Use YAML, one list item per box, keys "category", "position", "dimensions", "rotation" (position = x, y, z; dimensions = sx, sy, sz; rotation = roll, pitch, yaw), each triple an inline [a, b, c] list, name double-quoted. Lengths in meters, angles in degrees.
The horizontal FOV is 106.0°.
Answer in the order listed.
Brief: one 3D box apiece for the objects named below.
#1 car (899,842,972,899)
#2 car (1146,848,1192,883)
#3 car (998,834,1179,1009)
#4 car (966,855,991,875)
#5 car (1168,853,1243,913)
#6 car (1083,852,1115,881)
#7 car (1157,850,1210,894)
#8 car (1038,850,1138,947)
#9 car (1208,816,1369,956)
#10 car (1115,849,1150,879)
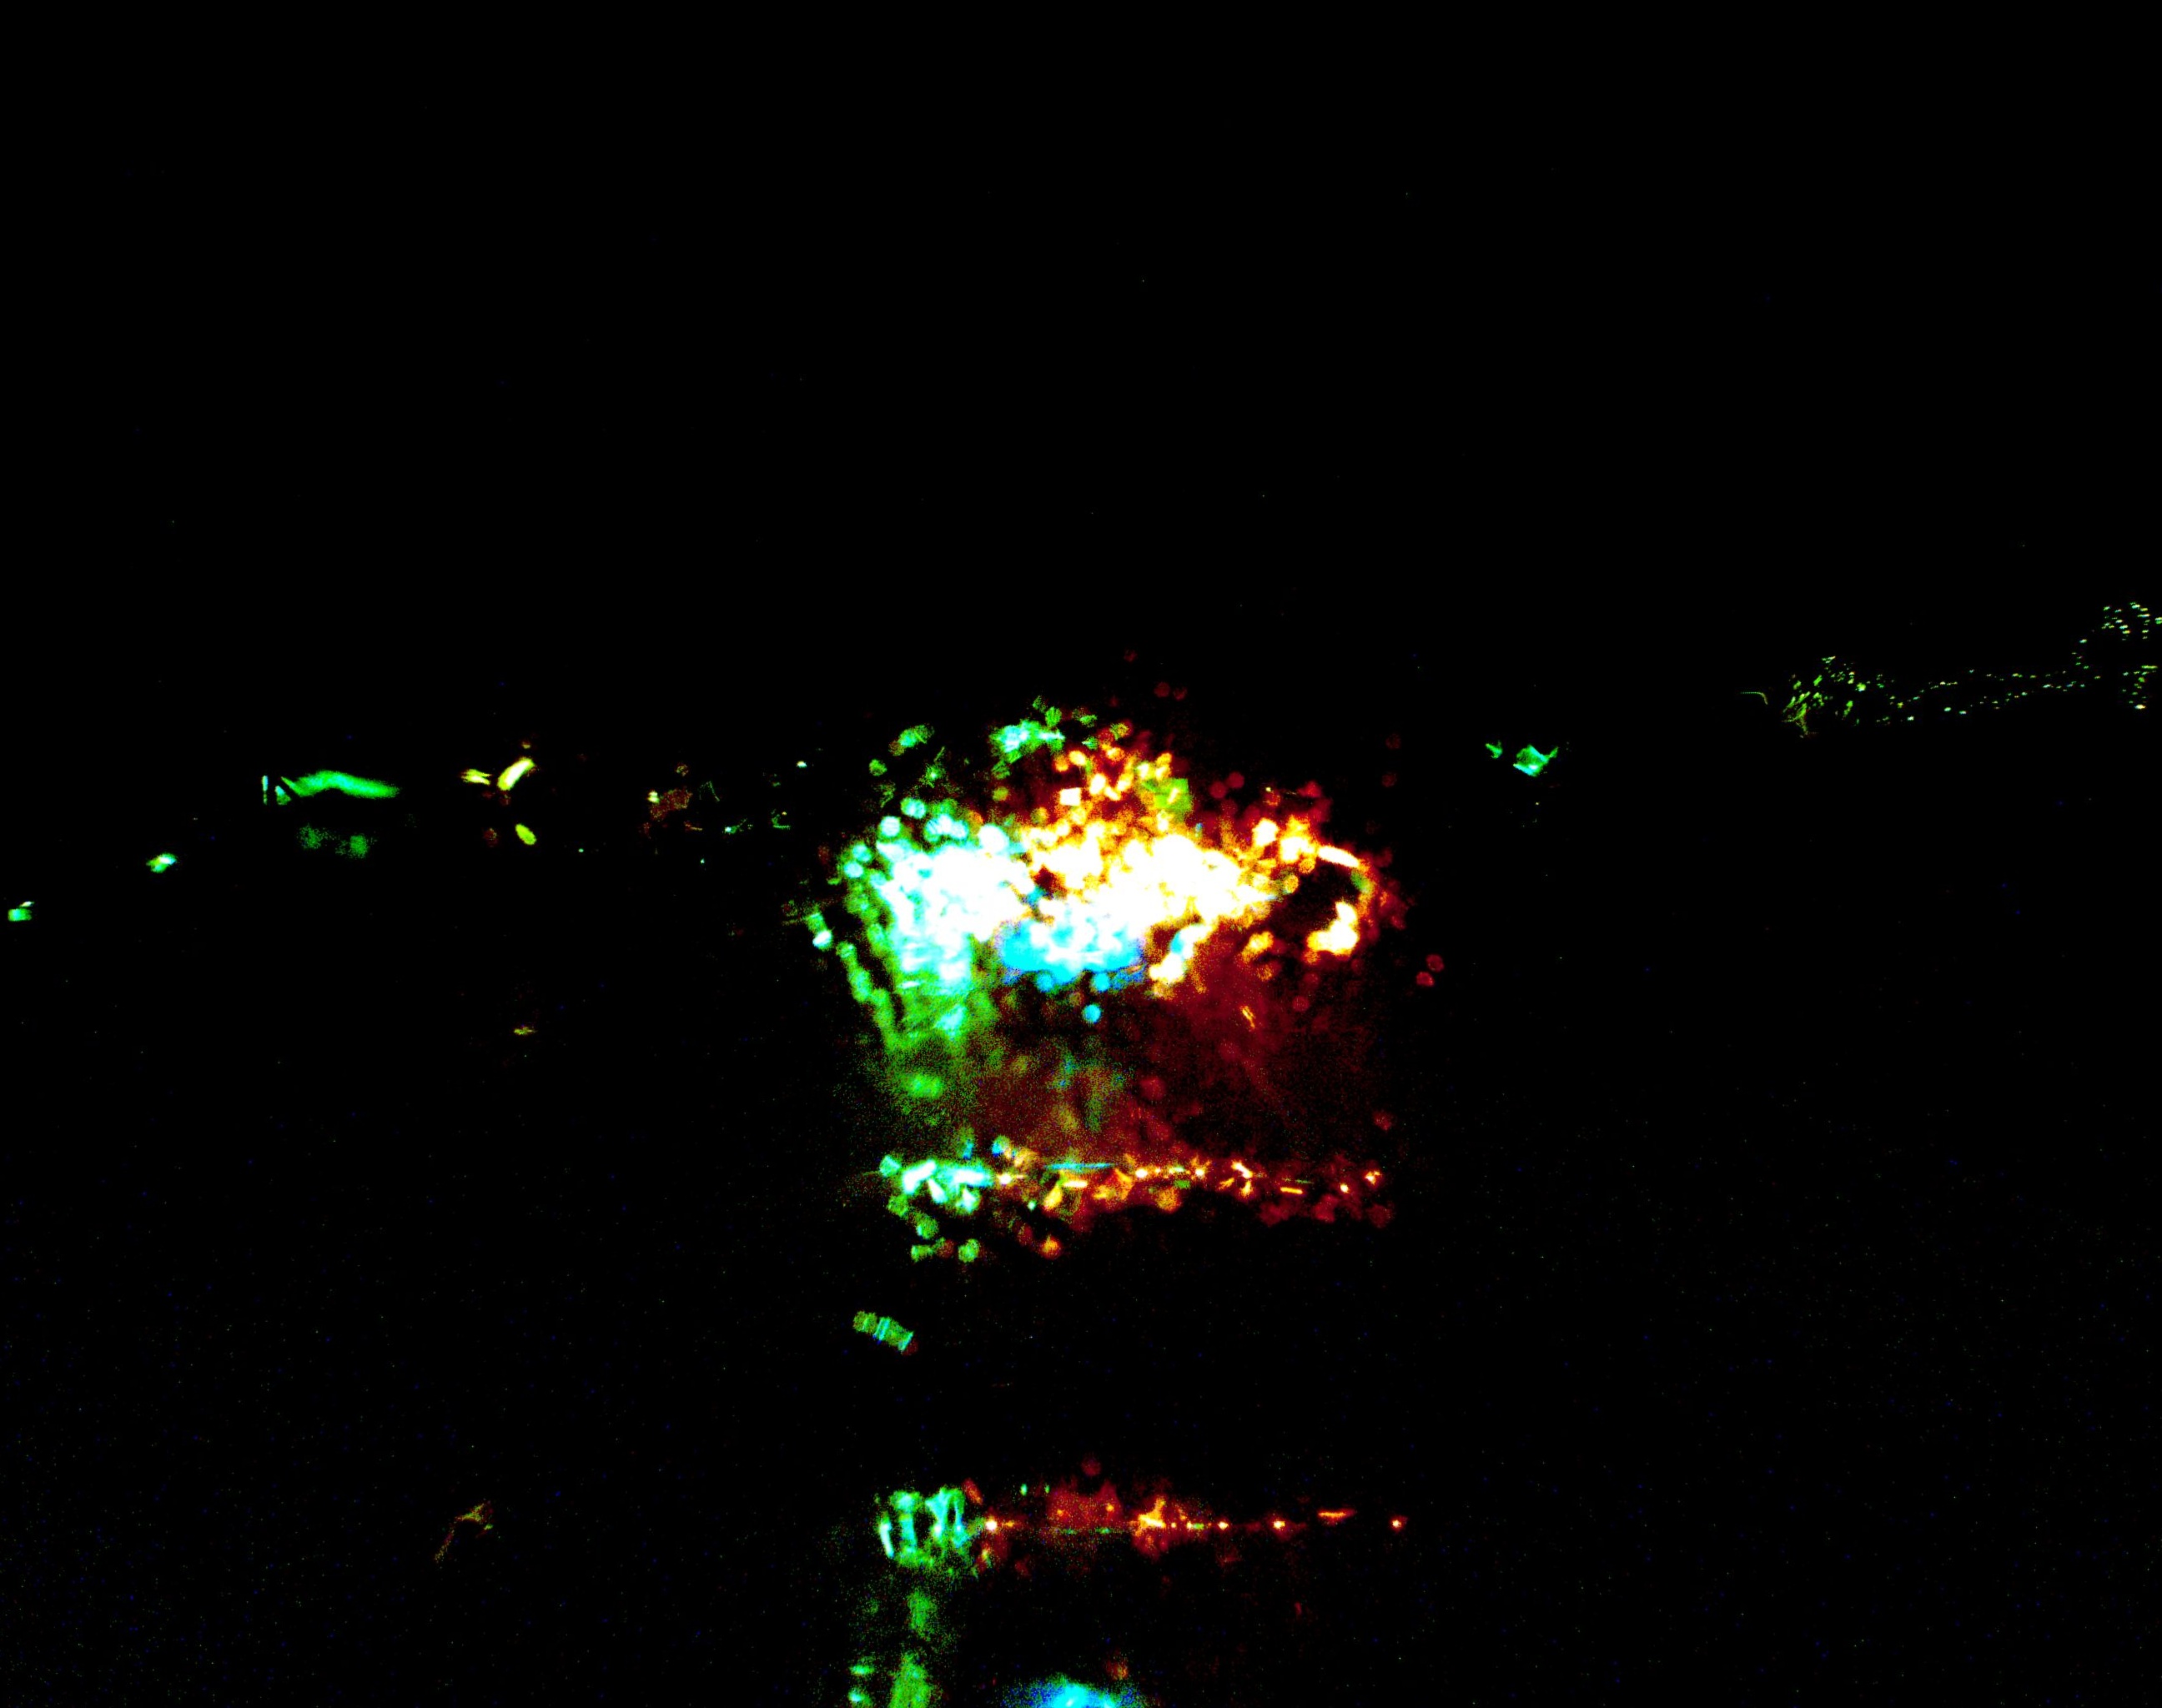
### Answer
- category: "car"
  position: [-5.372, 0.571, 30.693]
  dimensions: [1.988, 1.912, 4.740]
  rotation: [-1, 0, -1]
- category: "car"
  position: [3.850, 0.474, 36.049]
  dimensions: [1.657, 1.450, 4.051]
  rotation: [-1, 0, 1]
- category: "car"
  position: [0.129, 0.653, 9.601]
  dimensions: [1.688, 1.630, 3.854]
  rotation: [-1, 0, 2]
- category: "car"
  position: [-7.703, 0.806, 61.355]
  dimensions: [1.717, 1.442, 3.733]
  rotation: [-1, 0, -5]
- category: "car"
  position: [3.345, 0.716, 22.523]
  dimensions: [1.759, 1.450, 4.224]
  rotation: [-1, 0, 5]
- category: "car"
  position: [1.095, 0.752, 50.477]
  dimensions: [1.704, 1.638, 3.728]
  rotation: [-3, 0, -2]
- category: "car"
  position: [3.657, 0.616, 29.576]
  dimensions: [1.656, 1.450, 4.054]
  rotation: [-2, -1, 4]
- category: "car"
  position: [0.200, 0.780, 16.249]
  dimensions: [1.702, 1.638, 3.732]
  rotation: [-3, 0, 2]
- category: "car"
  position: [3.287, 0.451, 13.739]
  dimensions: [1.933, 1.972, 4.223]
  rotation: [-1, 0, 4]
- category: "car"
  position: [2.679, 0.521, 43.135]
  dimensions: [1.657, 1.450, 4.051]
  rotation: [-1, -1, 1]
